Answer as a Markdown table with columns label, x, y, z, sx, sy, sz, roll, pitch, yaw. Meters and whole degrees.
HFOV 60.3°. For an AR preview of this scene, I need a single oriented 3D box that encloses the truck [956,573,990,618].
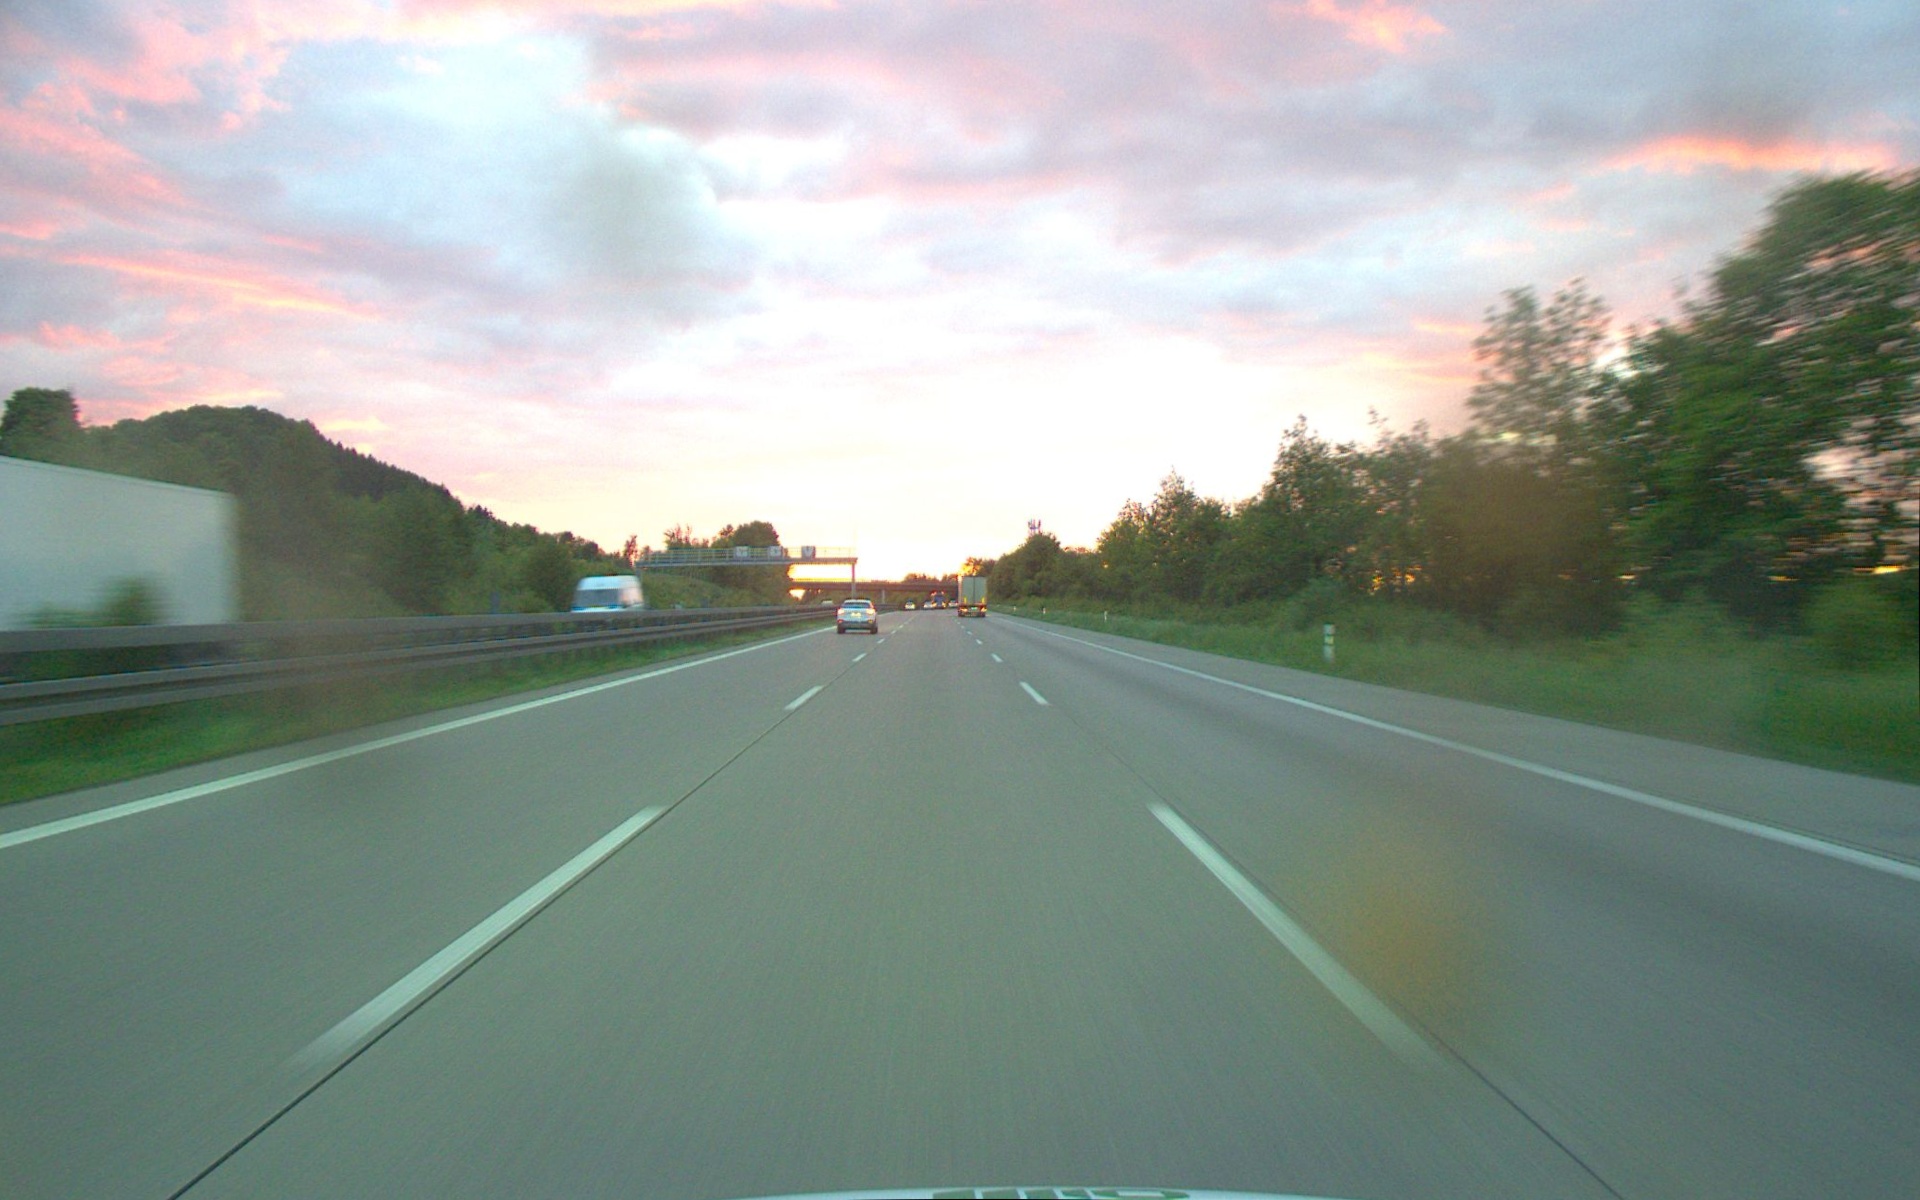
| label | x | y | z | sx | sy | sz | roll | pitch | yaw |
| --- | --- | --- | --- | --- | --- | --- | --- | --- | --- |
| truck | 1.244 | -0.427 | 162.748 | 3.178 | 4.199 | 9.785 | -1 | 0 | 0 |

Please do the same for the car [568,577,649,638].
| label | x | y | z | sx | sy | sz | roll | pitch | yaw |
| --- | --- | --- | --- | --- | --- | --- | --- | --- | --- |
| car | -14.175 | 0.291 | 67.100 | 1.953 | 2.327 | 6.338 | 0 | 0 | 0 |

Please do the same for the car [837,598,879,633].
| label | x | y | z | sx | sy | sz | roll | pitch | yaw |
| --- | --- | --- | --- | --- | --- | --- | --- | --- | --- |
| car | -4.695 | 0.703 | 76.533 | 1.753 | 1.527 | 5.036 | 1 | 0 | -1 |

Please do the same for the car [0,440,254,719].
| label | x | y | z | sx | sy | sz | roll | pitch | yaw |
| --- | --- | --- | --- | --- | --- | --- | --- | --- | --- |
| car | -17.131 | -0.322 | 30.218 | 2.741 | 4.565 | 13.908 | 0 | 0 | -1 |

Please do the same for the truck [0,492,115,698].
| label | x | y | z | sx | sy | sz | roll | pitch | yaw |
| --- | --- | --- | --- | --- | --- | --- | --- | --- | --- |
| truck | -21.394 | -0.093 | 32.369 | 2.836 | 4.284 | 13.599 | 0 | 0 | 0 |
